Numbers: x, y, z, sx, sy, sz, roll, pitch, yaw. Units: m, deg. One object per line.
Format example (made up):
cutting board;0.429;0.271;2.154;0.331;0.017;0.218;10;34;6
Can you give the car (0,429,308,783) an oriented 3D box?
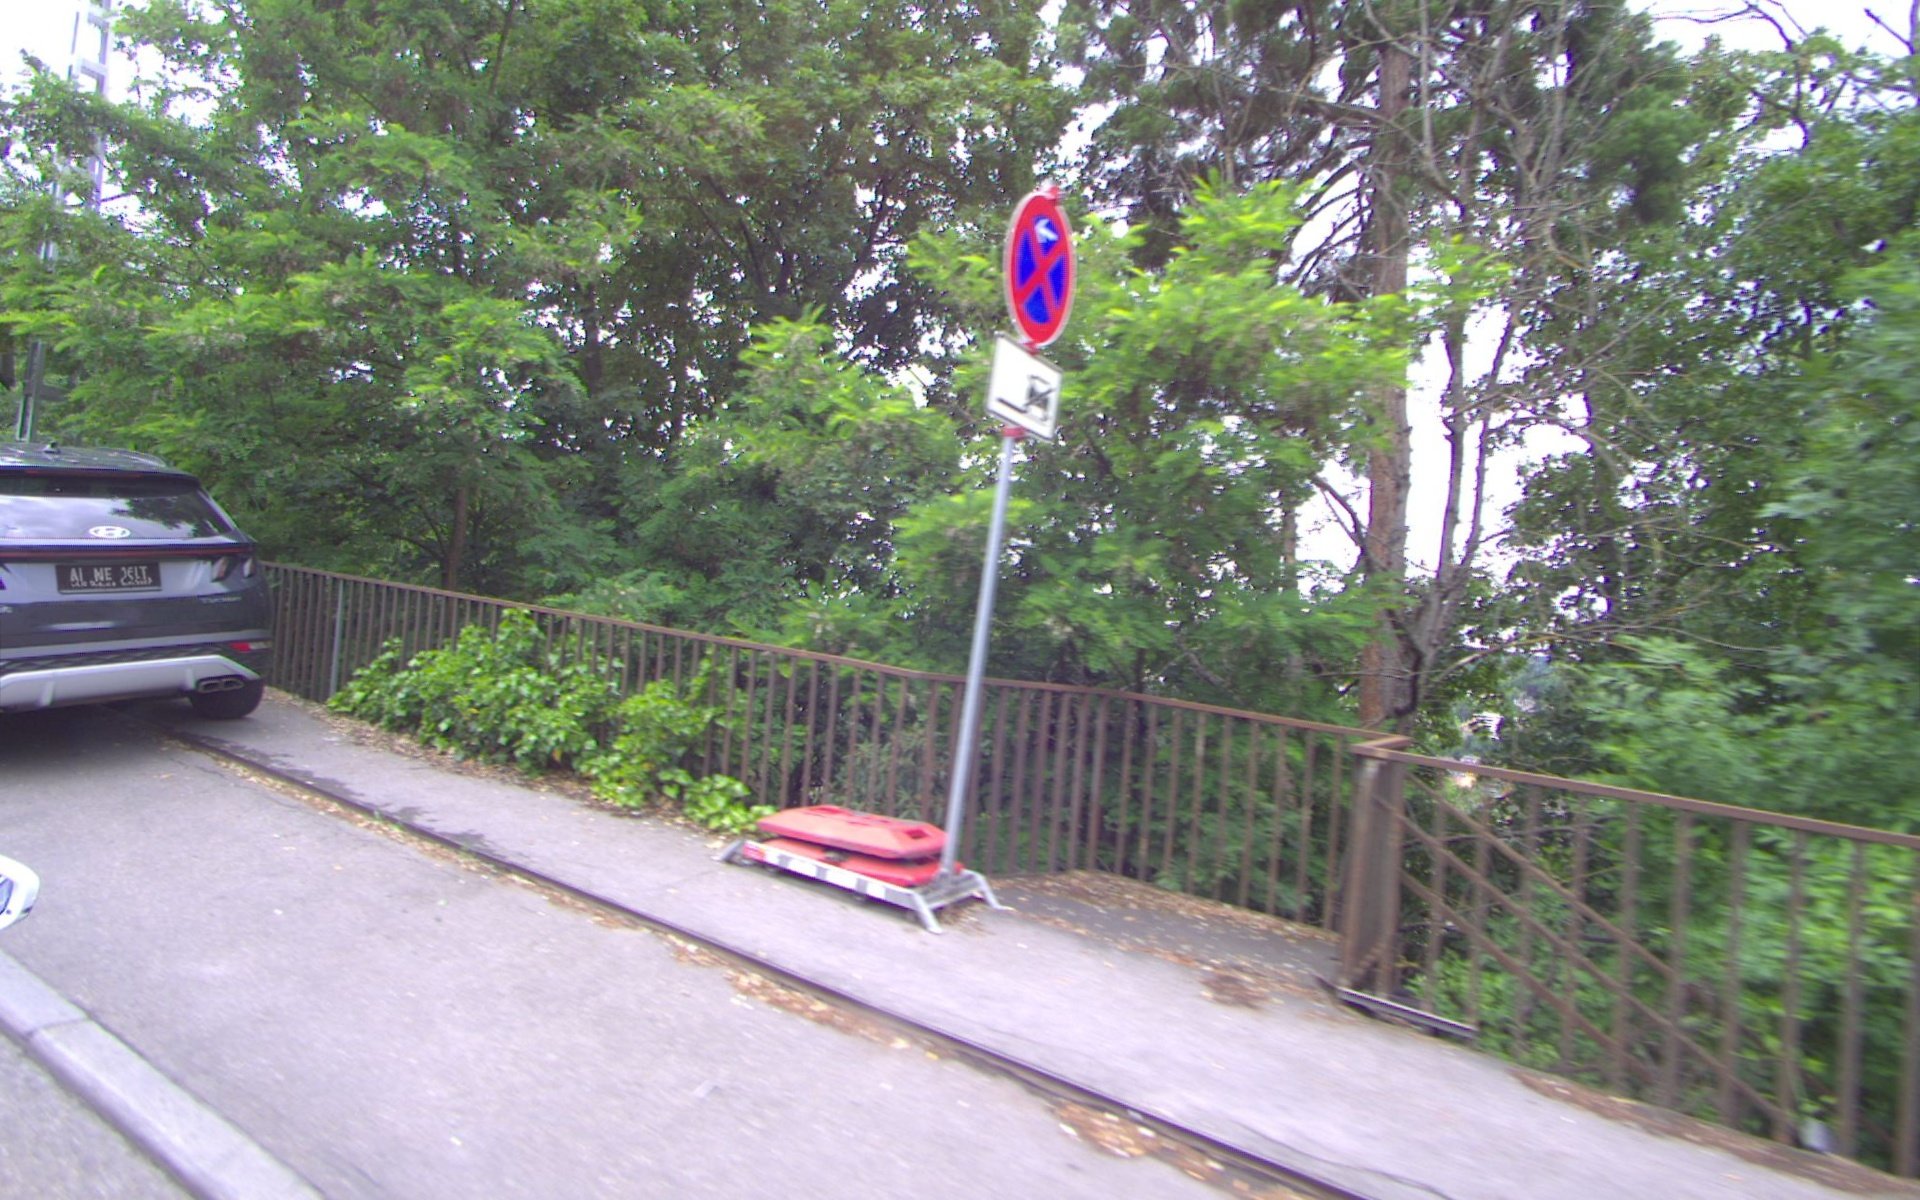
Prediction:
car;-6.121;-0.169;6.270;4.208;1.698;1.852;7;4;32
